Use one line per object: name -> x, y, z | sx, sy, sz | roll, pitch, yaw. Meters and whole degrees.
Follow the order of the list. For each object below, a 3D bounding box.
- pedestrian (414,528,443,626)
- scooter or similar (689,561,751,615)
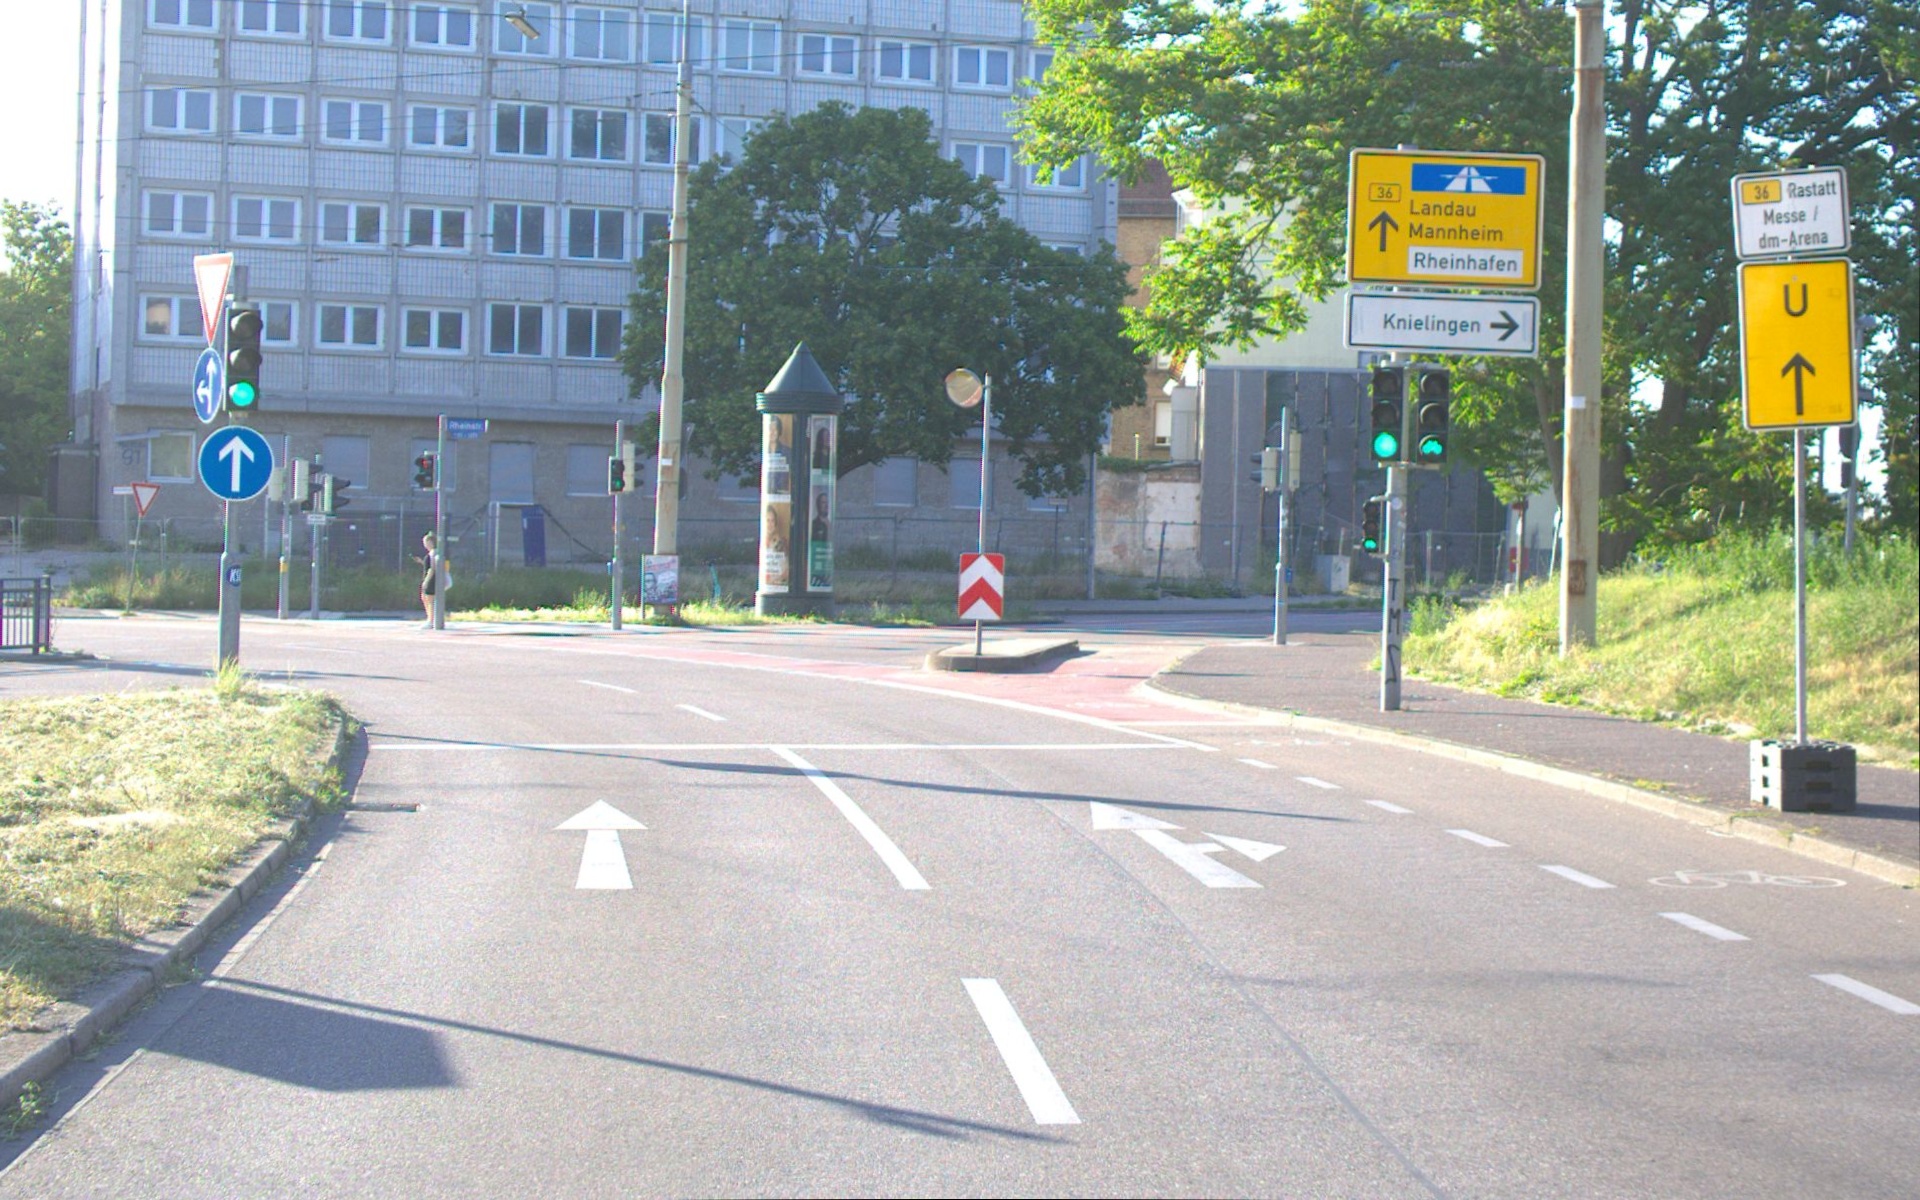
pedestrian -> -8.810, -0.382, 56.977 | 0.436, 1.607, 0.630 | 1, 1, -7
scooter or similar -> -5.249, -0.261, 75.192 | 1.296, 1.166, 0.327 | 1, 1, -16
